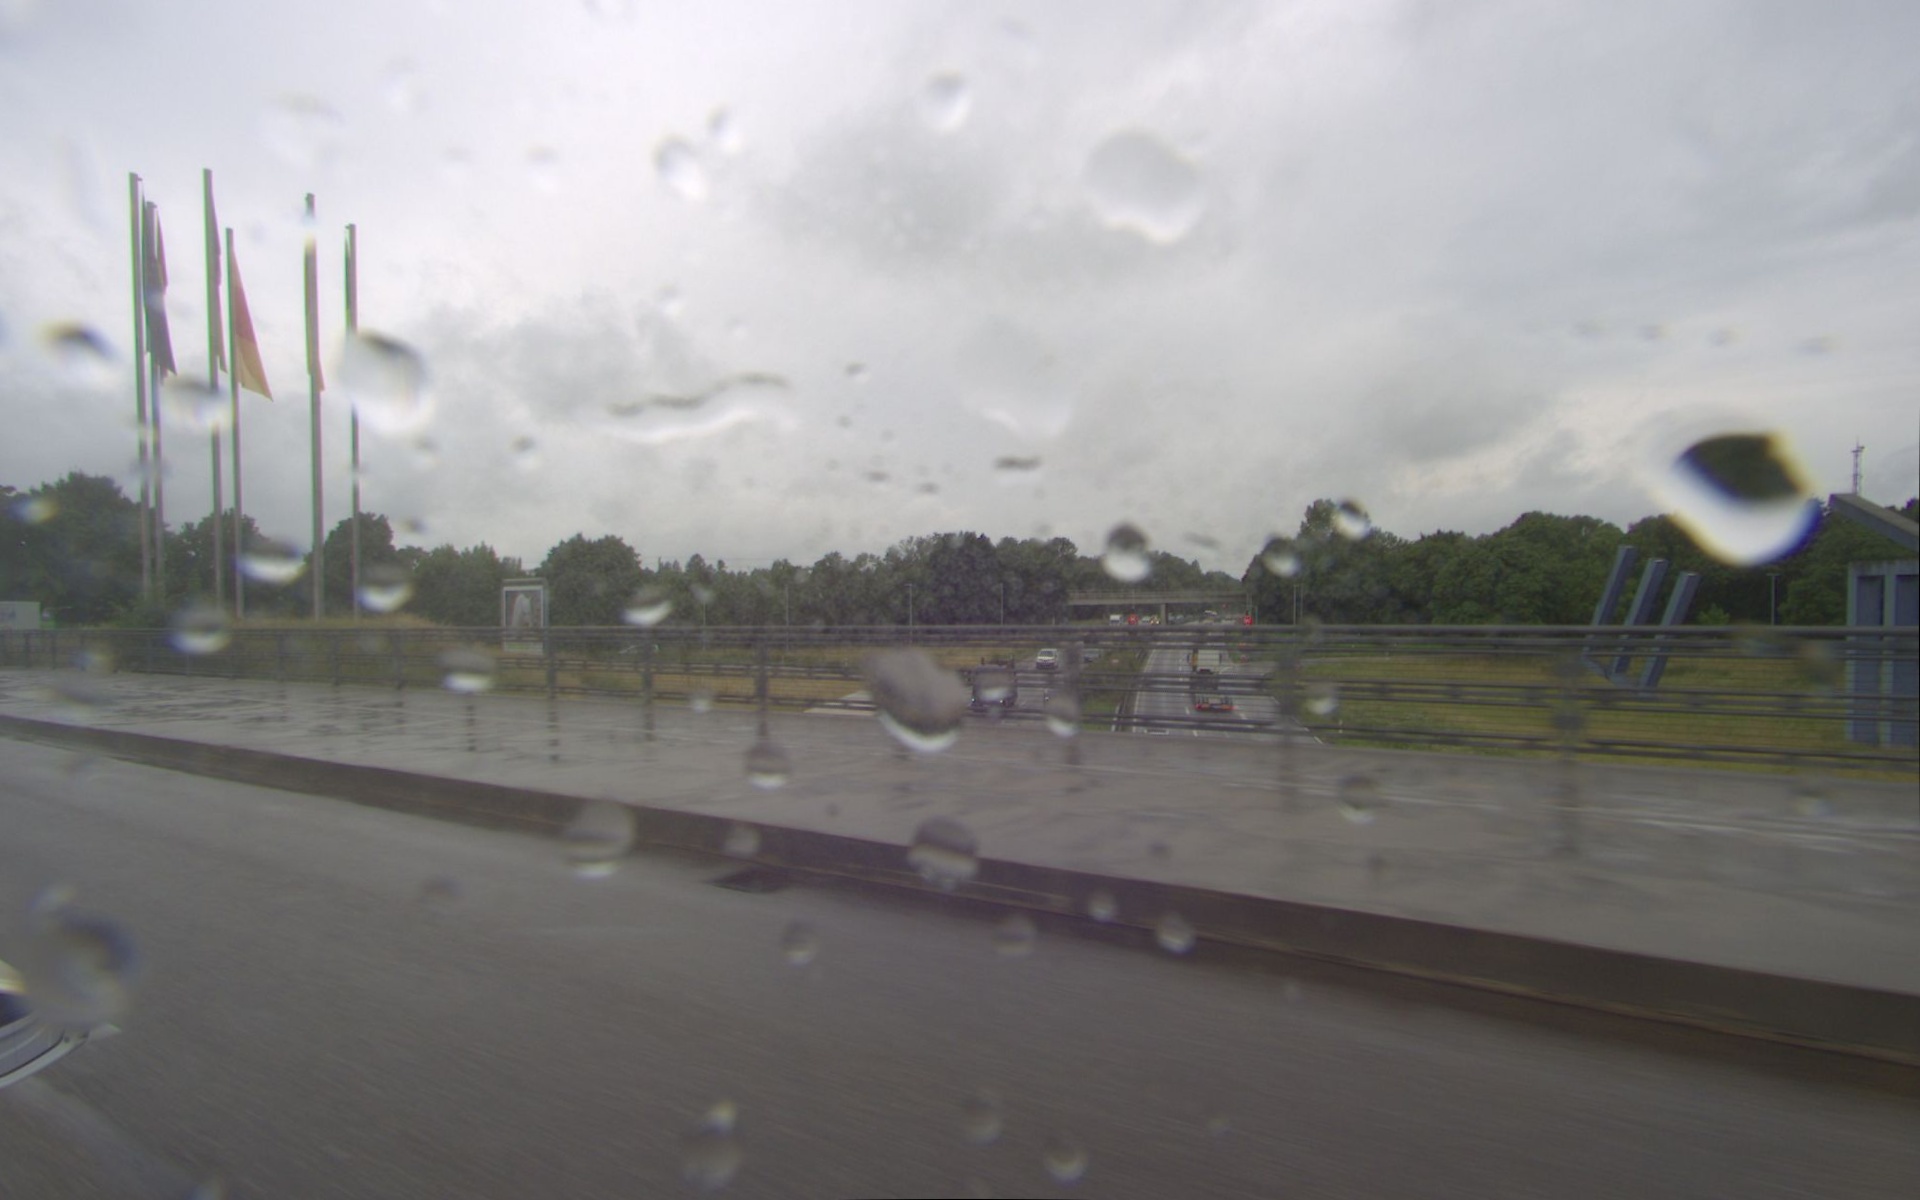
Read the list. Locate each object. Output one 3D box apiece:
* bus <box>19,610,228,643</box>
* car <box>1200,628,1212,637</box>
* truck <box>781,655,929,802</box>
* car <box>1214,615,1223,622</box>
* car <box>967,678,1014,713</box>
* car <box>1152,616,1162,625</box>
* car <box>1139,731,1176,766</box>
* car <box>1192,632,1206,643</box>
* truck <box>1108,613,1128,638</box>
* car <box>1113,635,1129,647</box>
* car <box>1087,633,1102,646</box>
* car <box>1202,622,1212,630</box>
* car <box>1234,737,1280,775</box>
[{"bbox_3d":[-72.763,2.351,87.914,2.716,2.714,14.561,0,-2,21],"label":"bus"},{"bbox_3d":[45.268,5.940,183.989,1.963,1.613,3.996,0,-1,16],"label":"car"},{"bbox_3d":[-3.618,4.496,38.243,2.520,4.357,10.939,0,-1,11],"label":"truck"},{"bbox_3d":[64.213,4.563,248.509,1.963,1.613,3.996,0,-1,16],"label":"car"},{"bbox_3d":[2.209,6.694,70.769,2.255,1.990,5.616,0,-1,13],"label":"car"},{"bbox_3d":[43.845,4.559,222.994,1.963,1.962,4.739,-1,0,15],"label":"car"},{"bbox_3d":[9.683,7.283,49.246,1.550,1.252,3.321,0,0,8],"label":"car"},{"bbox_3d":[36.945,5.743,155.009,1.963,1.613,3.996,0,-1,16],"label":"car"},{"bbox_3d":[29.909,4.798,189.471,2.584,4.595,10.502,-1,0,15],"label":"truck"},{"bbox_3d":[25.503,6.509,158.876,1.963,1.720,4.739,-1,0,15],"label":"car"},{"bbox_3d":[20.166,5.920,150.085,1.962,1.720,4.742,-1,0,10],"label":"car"},{"bbox_3d":[51.522,5.456,208.714,1.963,1.613,3.996,0,-1,16],"label":"car"},{"bbox_3d":[13.641,7.141,46.120,1.550,1.252,3.321,0,0,8],"label":"car"}]
